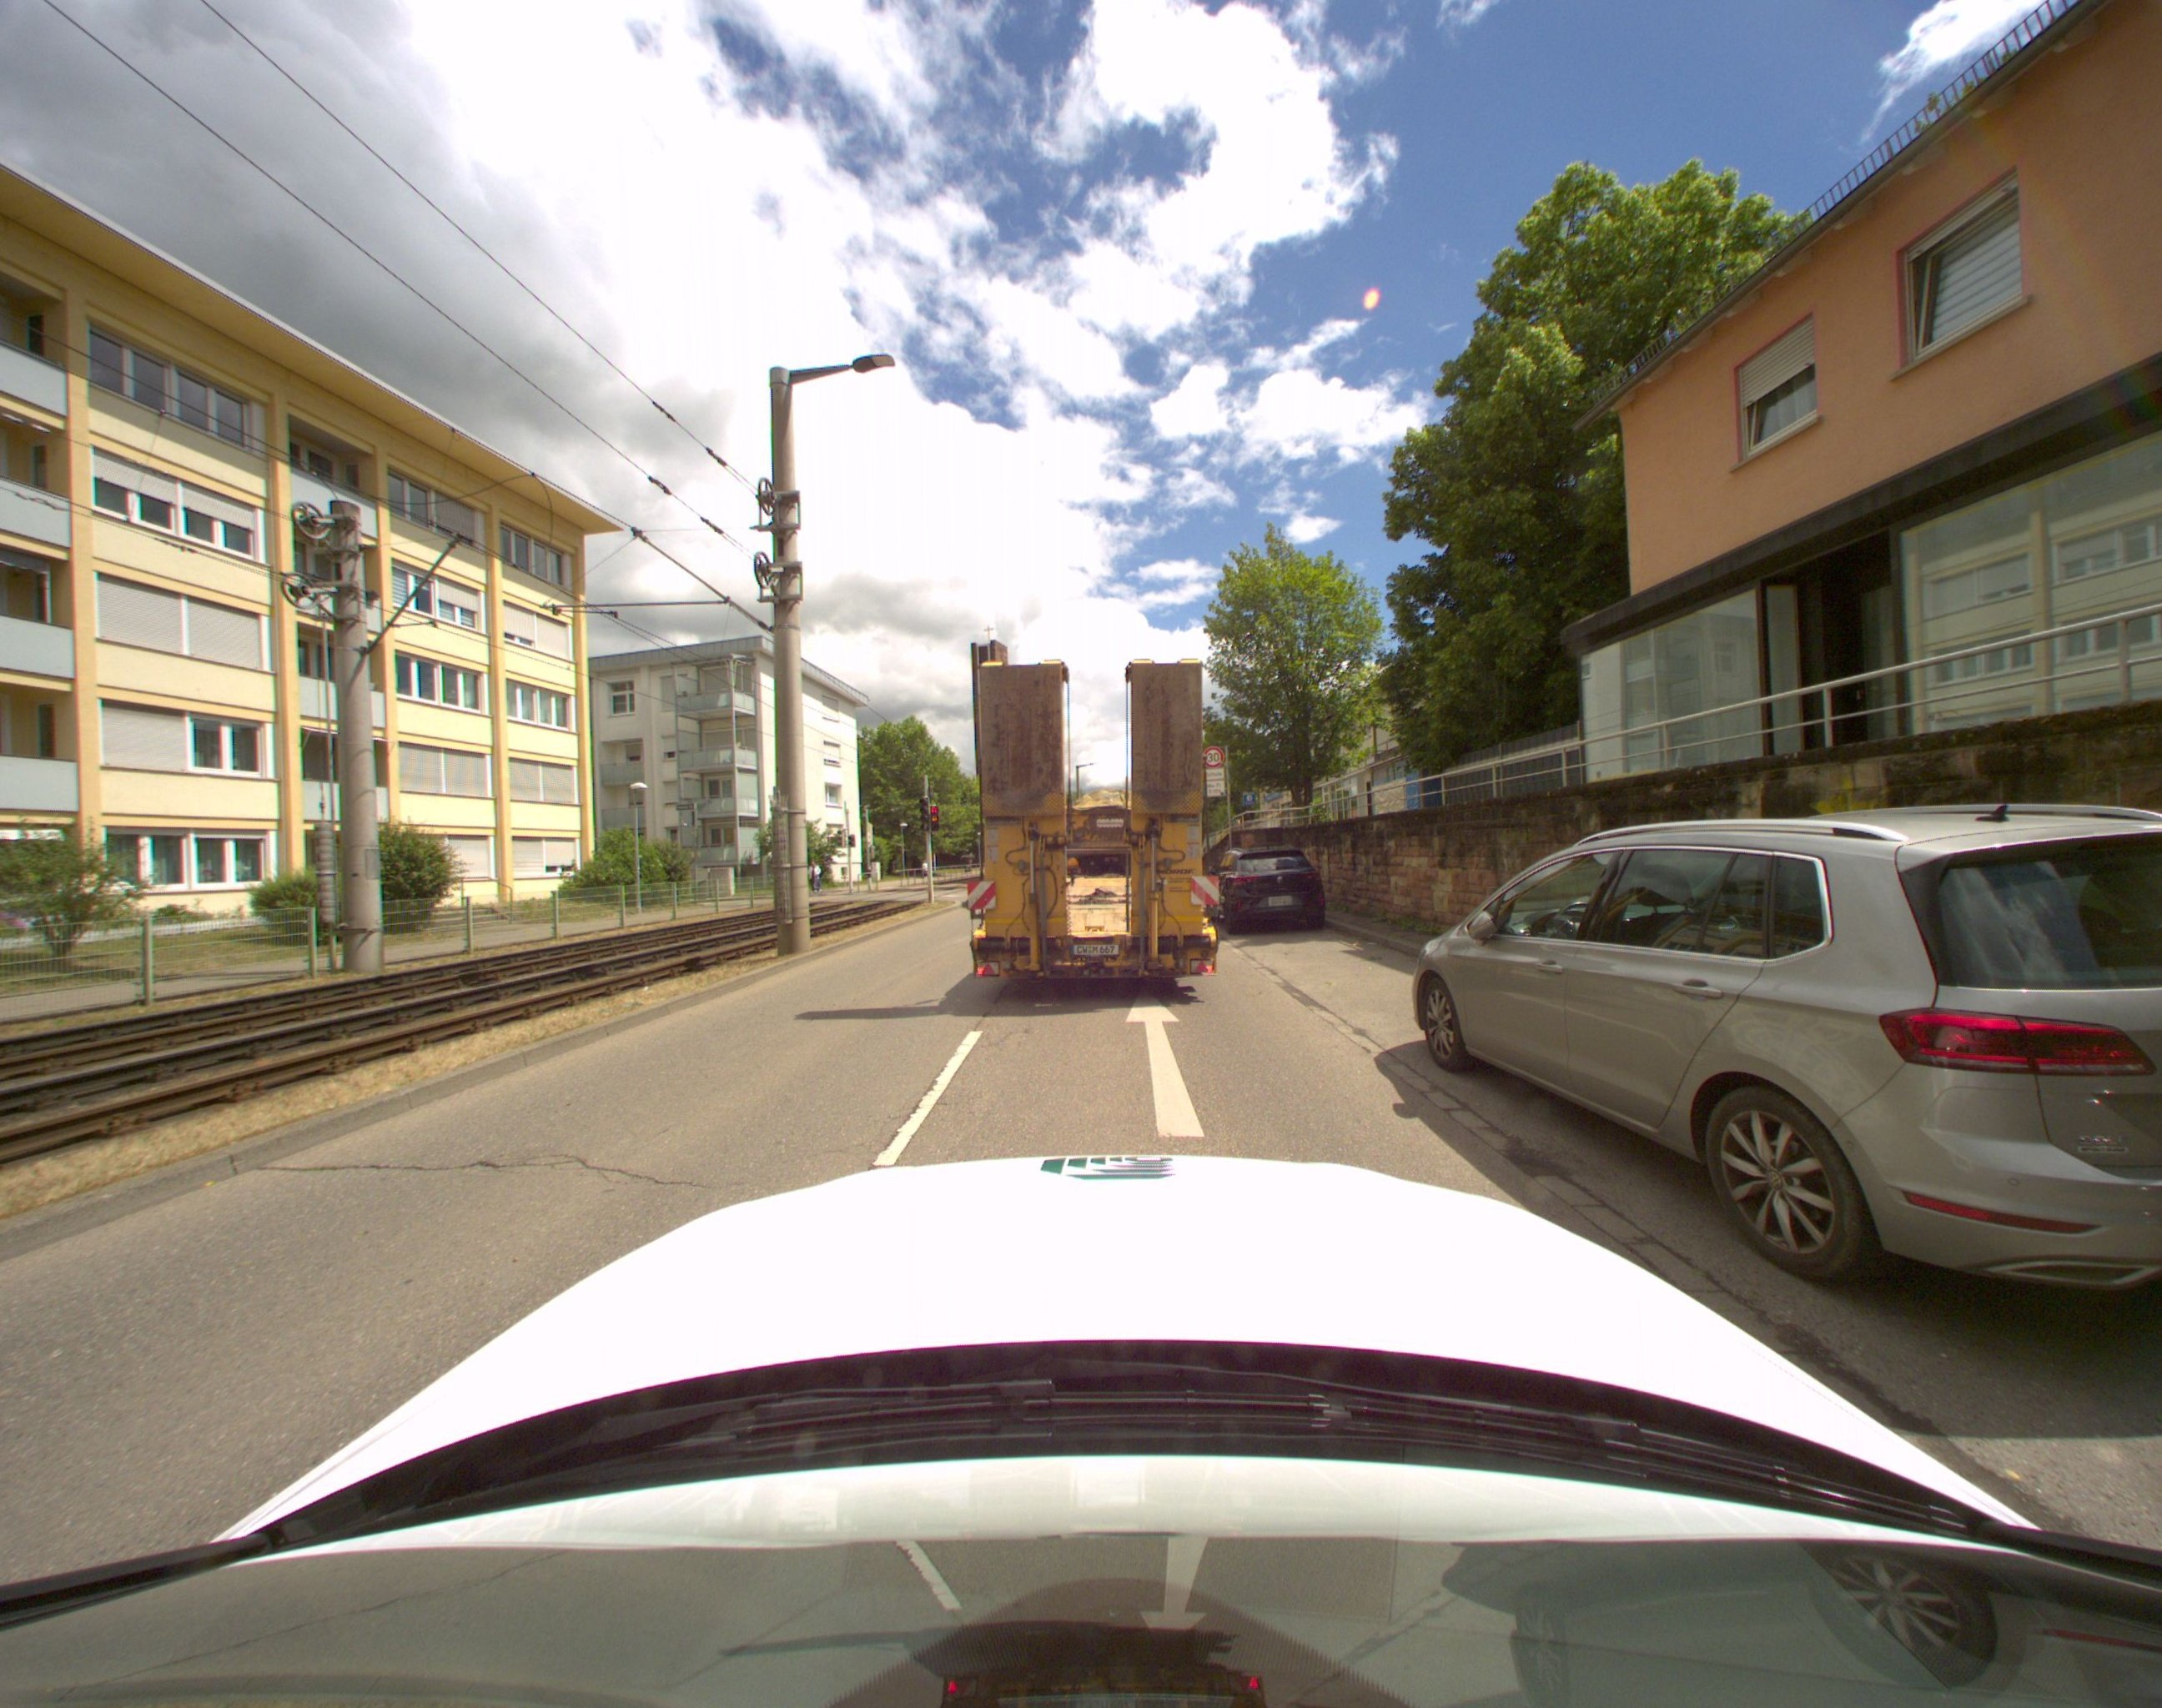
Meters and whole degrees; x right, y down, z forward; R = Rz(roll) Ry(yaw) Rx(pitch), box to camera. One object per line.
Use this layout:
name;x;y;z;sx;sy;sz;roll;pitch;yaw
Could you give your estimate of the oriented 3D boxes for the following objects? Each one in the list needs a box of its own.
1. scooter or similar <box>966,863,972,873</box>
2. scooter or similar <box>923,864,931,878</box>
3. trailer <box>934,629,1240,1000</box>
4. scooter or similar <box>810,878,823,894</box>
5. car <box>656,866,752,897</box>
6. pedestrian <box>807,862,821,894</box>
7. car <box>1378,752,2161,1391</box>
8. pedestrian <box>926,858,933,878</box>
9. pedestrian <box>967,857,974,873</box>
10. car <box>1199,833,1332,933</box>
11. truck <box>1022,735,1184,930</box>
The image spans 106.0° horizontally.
scooter or similar;-10.845;1.360;78.830;0.504;0.971;0.646;0;0;1
scooter or similar;-11.821;1.319;62.516;0.336;1.057;0.689;-2;1;7
trailer;0.266;-0.390;12.453;2.933;3.601;8.690;-2;0;3
scooter or similar;-12.889;1.578;39.715;0.435;0.747;0.475;-2;-1;7
car;-19.196;1.395;41.538;3.963;1.346;1.906;-2;0;9
pedestrian;-13.149;1.171;40.134;0.435;1.581;0.475;-2;-1;7
car;3.217;0.528;4.228;1.783;1.617;4.249;-3;0;1
pedestrian;-11.759;1.075;63.170;0.346;1.537;0.558;-2;0;5
pedestrian;-10.800;1.087;79.482;0.562;1.513;0.646;0;0;1
car;3.503;0.517;16.239;1.843;1.639;4.003;-3;0;3
truck;0.530;-0.405;17.752;2.931;3.572;4.880;-2;0;2
